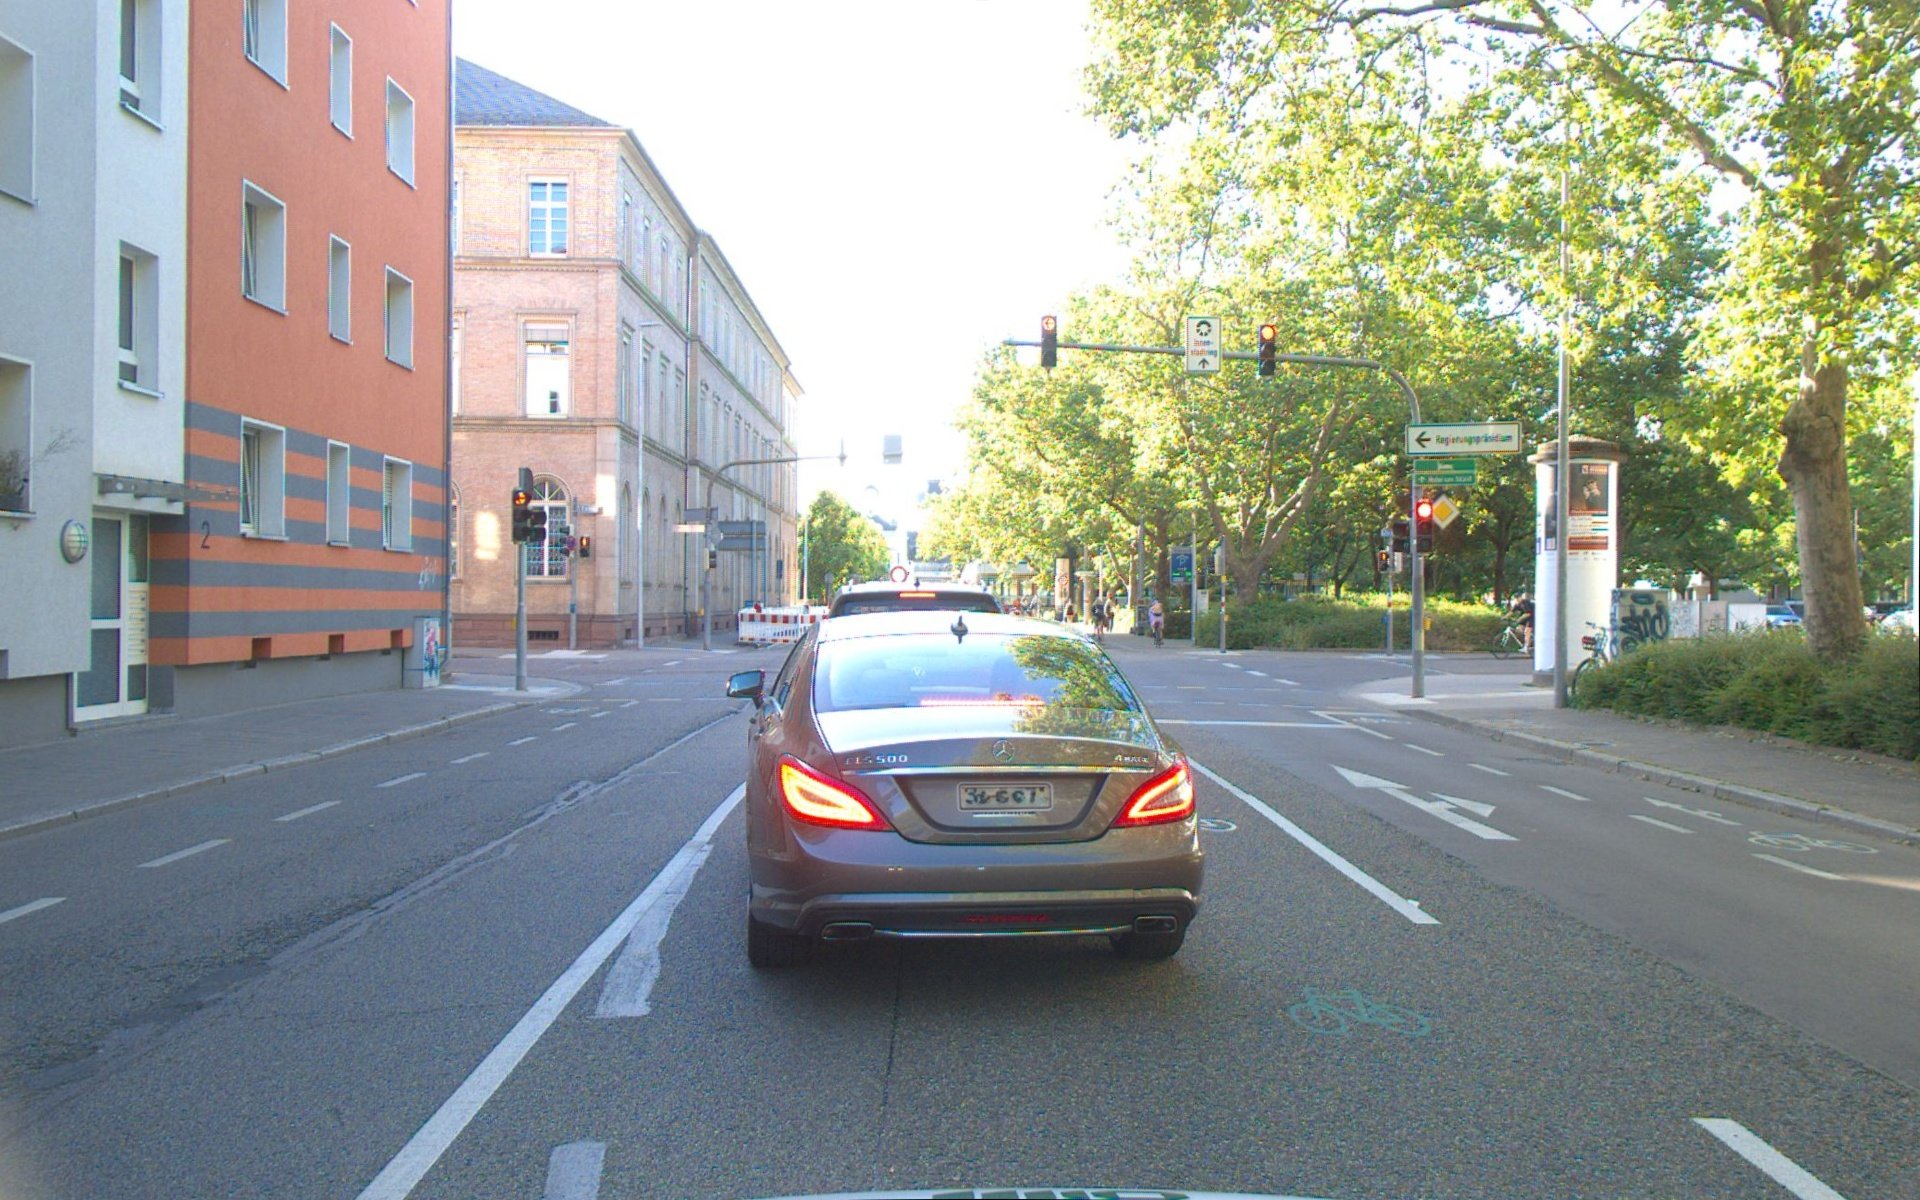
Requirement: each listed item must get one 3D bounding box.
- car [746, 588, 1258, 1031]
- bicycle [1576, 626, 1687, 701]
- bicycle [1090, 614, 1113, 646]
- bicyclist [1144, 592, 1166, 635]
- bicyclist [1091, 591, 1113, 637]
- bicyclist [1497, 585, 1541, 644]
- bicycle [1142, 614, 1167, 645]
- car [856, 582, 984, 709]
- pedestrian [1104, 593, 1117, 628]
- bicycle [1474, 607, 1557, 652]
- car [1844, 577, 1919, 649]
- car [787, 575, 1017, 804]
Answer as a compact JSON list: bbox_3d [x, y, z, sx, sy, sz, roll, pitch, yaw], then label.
[{"bbox_3d":[-0.114,0.716,7.905,1.787,1.502,4.346,0,0,-8],"label":"car"},{"bbox_3d":[9.688,0.918,23.885,1.387,1.055,0.538,0,0,-5],"label":"bicycle"},{"bbox_3d":[4.852,1.013,56.715,0.598,1.044,1.731,2,0,-1],"label":"bicycle"},{"bbox_3d":[6.655,0.457,56.573,0.588,1.426,0.931,2,0,-1],"label":"bicyclist"},{"bbox_3d":[4.866,0.483,56.659,0.598,1.542,0.889,2,0,-1],"label":"bicyclist"},{"bbox_3d":[15.265,0.398,45.163,0.798,1.581,0.883,0,0,-10],"label":"bicyclist"},{"bbox_3d":[6.645,0.993,56.616,0.588,1.002,1.881,2,0,-1],"label":"bicycle"},{"bbox_3d":[-0.590,0.595,23.461,1.647,1.653,3.839,0,0,-2],"label":"car"},{"bbox_3d":[7.285,0.497,79.934,0.548,1.707,0.564,0,0,-1],"label":"pedestrian"},{"bbox_3d":[15.150,0.809,45.143,1.961,1.205,0.883,0,0,-11],"label":"bicycle"},{"bbox_3d":[25.357,0.341,42.769,3.912,1.815,2.001,0,0,4],"label":"car"},{"bbox_3d":[-0.488,0.648,13.886,1.647,1.653,3.839,0,0,-2],"label":"car"}]
